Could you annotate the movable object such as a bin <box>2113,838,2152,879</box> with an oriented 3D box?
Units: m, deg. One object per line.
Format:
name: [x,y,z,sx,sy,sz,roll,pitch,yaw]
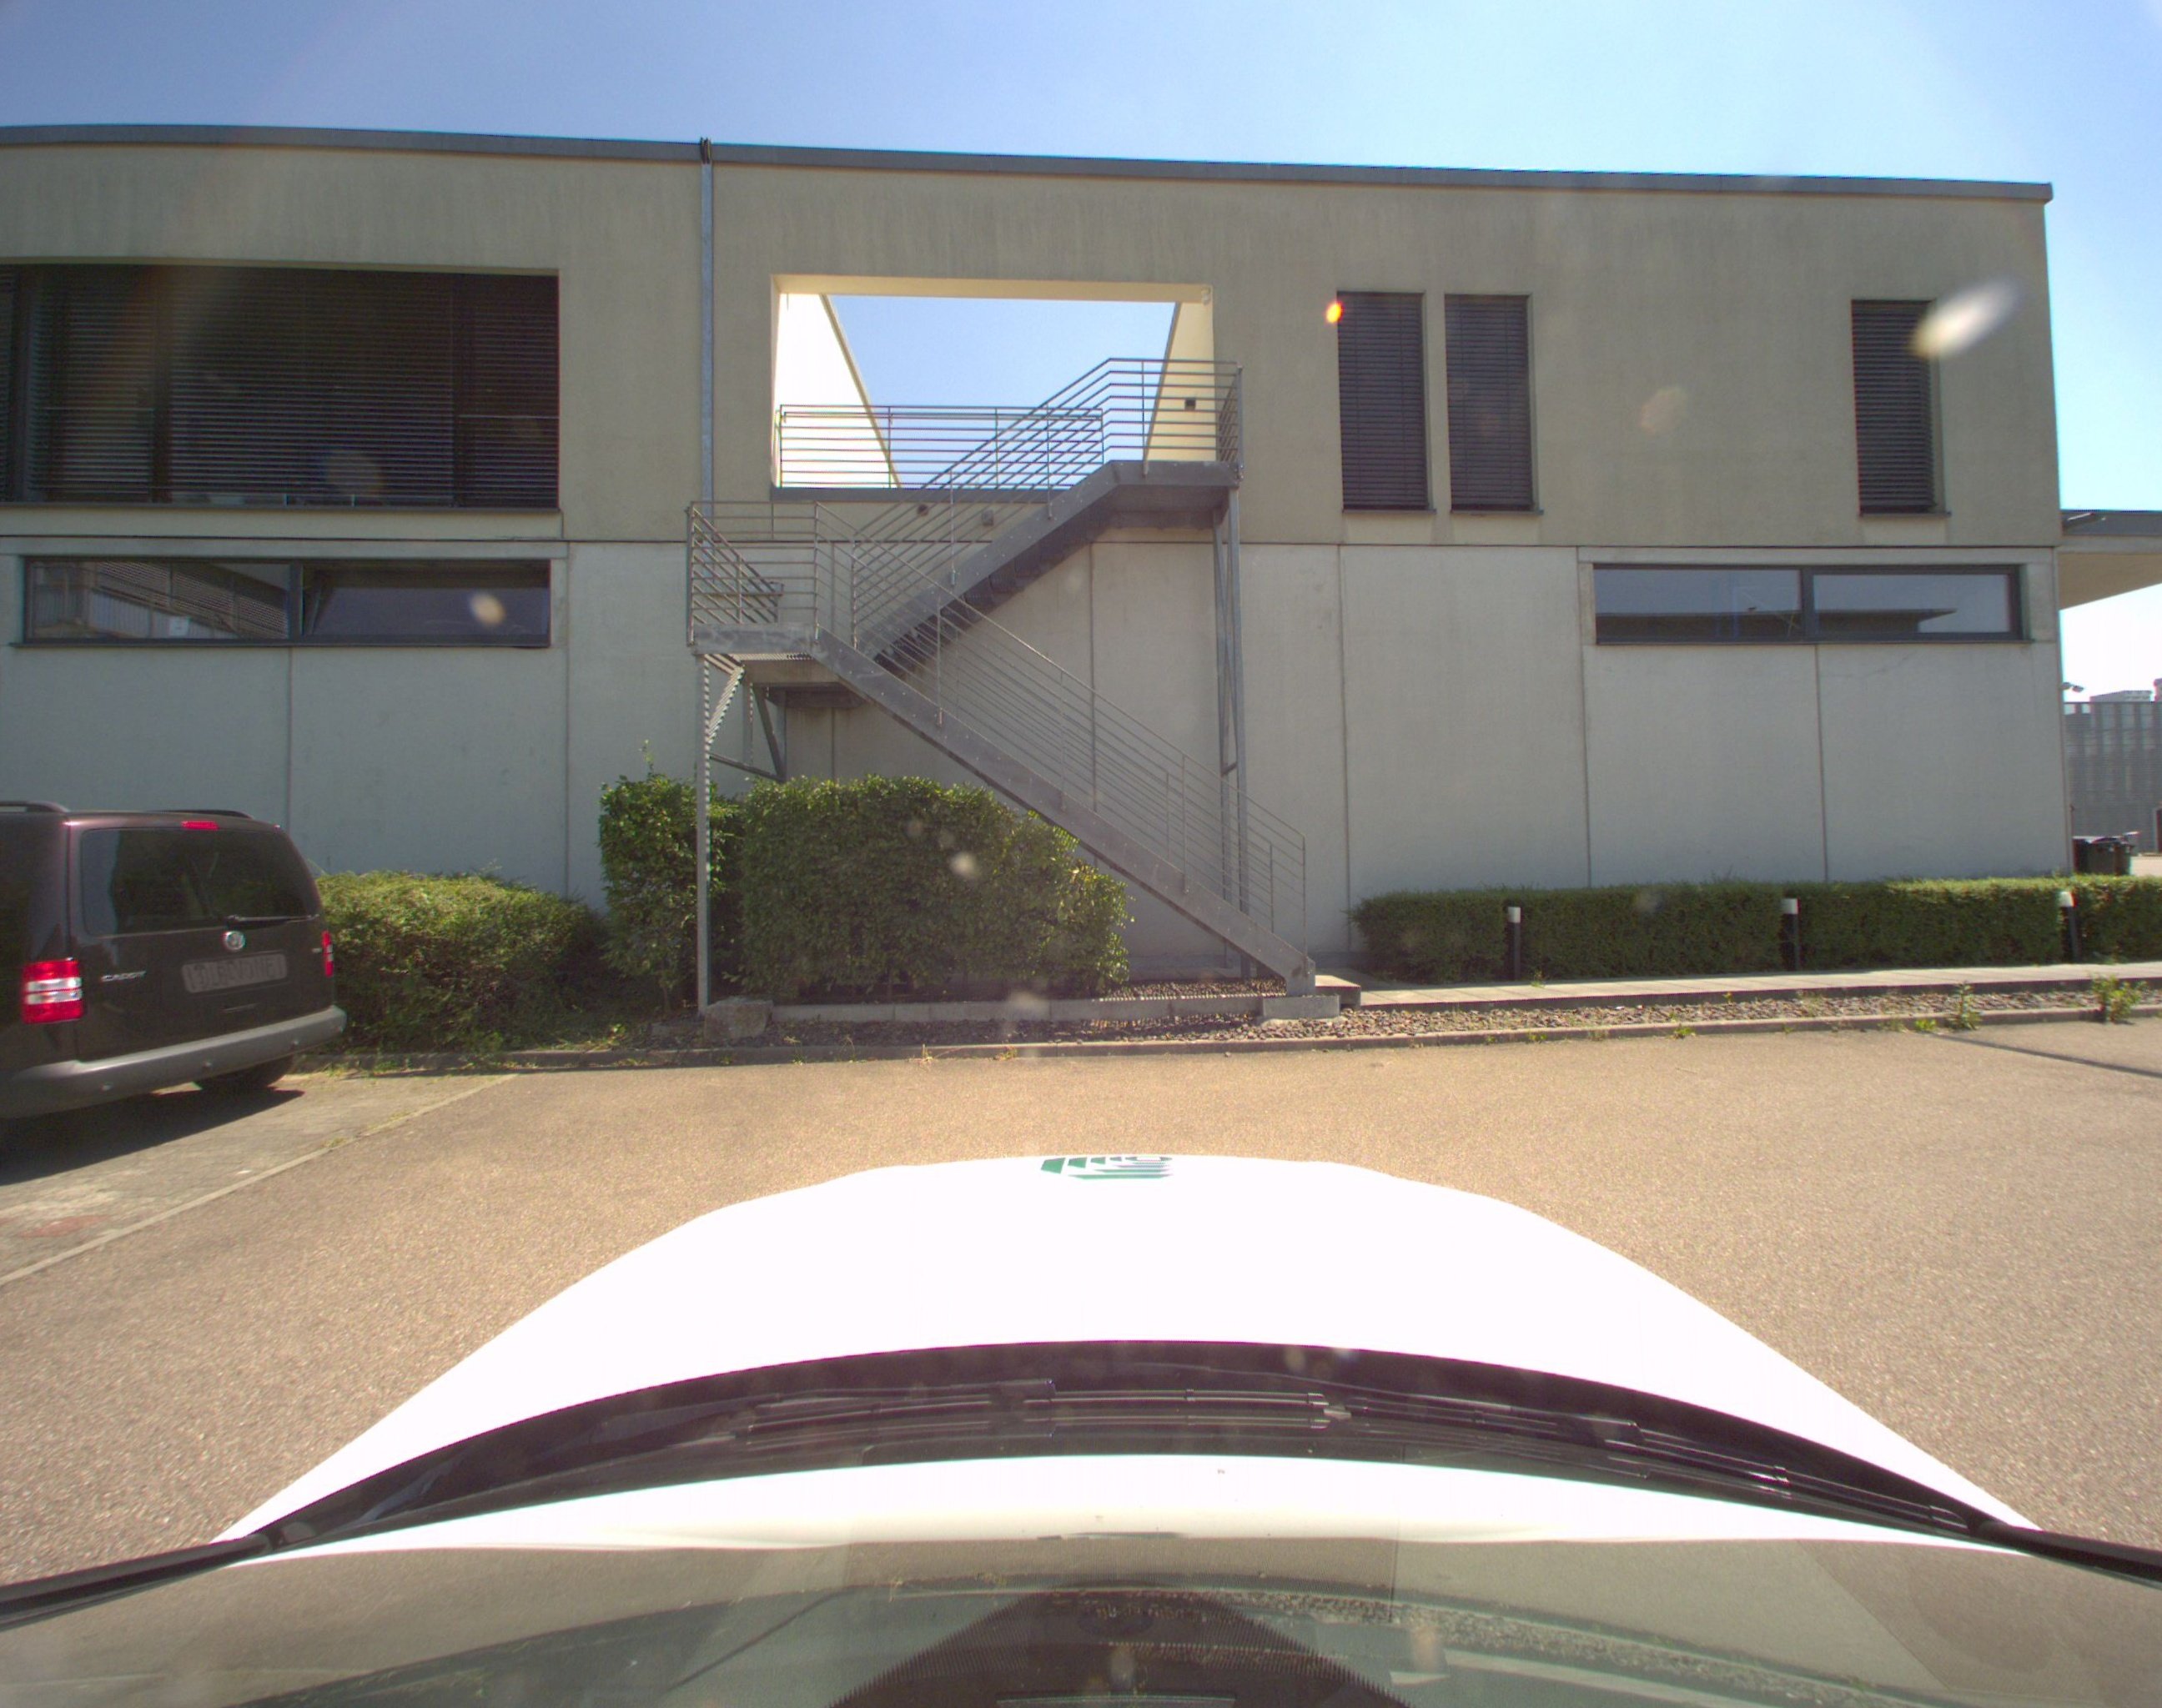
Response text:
movable object such as a bin: [26.847,0.125,20.795,0.427,1.036,0.572,-1,-1,-36]

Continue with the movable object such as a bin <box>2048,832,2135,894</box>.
movable object such as a bin: [22.573,0.198,18.209,0.878,1.345,0.814,-2,-1,3]

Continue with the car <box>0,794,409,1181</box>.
car: [-6.884,0.684,4.762,4.206,1.860,1.866,-1,0,-4]

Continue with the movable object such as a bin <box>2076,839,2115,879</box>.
movable object such as a bin: [26.509,0.136,21.280,0.427,1.027,0.575,-1,-1,-36]
